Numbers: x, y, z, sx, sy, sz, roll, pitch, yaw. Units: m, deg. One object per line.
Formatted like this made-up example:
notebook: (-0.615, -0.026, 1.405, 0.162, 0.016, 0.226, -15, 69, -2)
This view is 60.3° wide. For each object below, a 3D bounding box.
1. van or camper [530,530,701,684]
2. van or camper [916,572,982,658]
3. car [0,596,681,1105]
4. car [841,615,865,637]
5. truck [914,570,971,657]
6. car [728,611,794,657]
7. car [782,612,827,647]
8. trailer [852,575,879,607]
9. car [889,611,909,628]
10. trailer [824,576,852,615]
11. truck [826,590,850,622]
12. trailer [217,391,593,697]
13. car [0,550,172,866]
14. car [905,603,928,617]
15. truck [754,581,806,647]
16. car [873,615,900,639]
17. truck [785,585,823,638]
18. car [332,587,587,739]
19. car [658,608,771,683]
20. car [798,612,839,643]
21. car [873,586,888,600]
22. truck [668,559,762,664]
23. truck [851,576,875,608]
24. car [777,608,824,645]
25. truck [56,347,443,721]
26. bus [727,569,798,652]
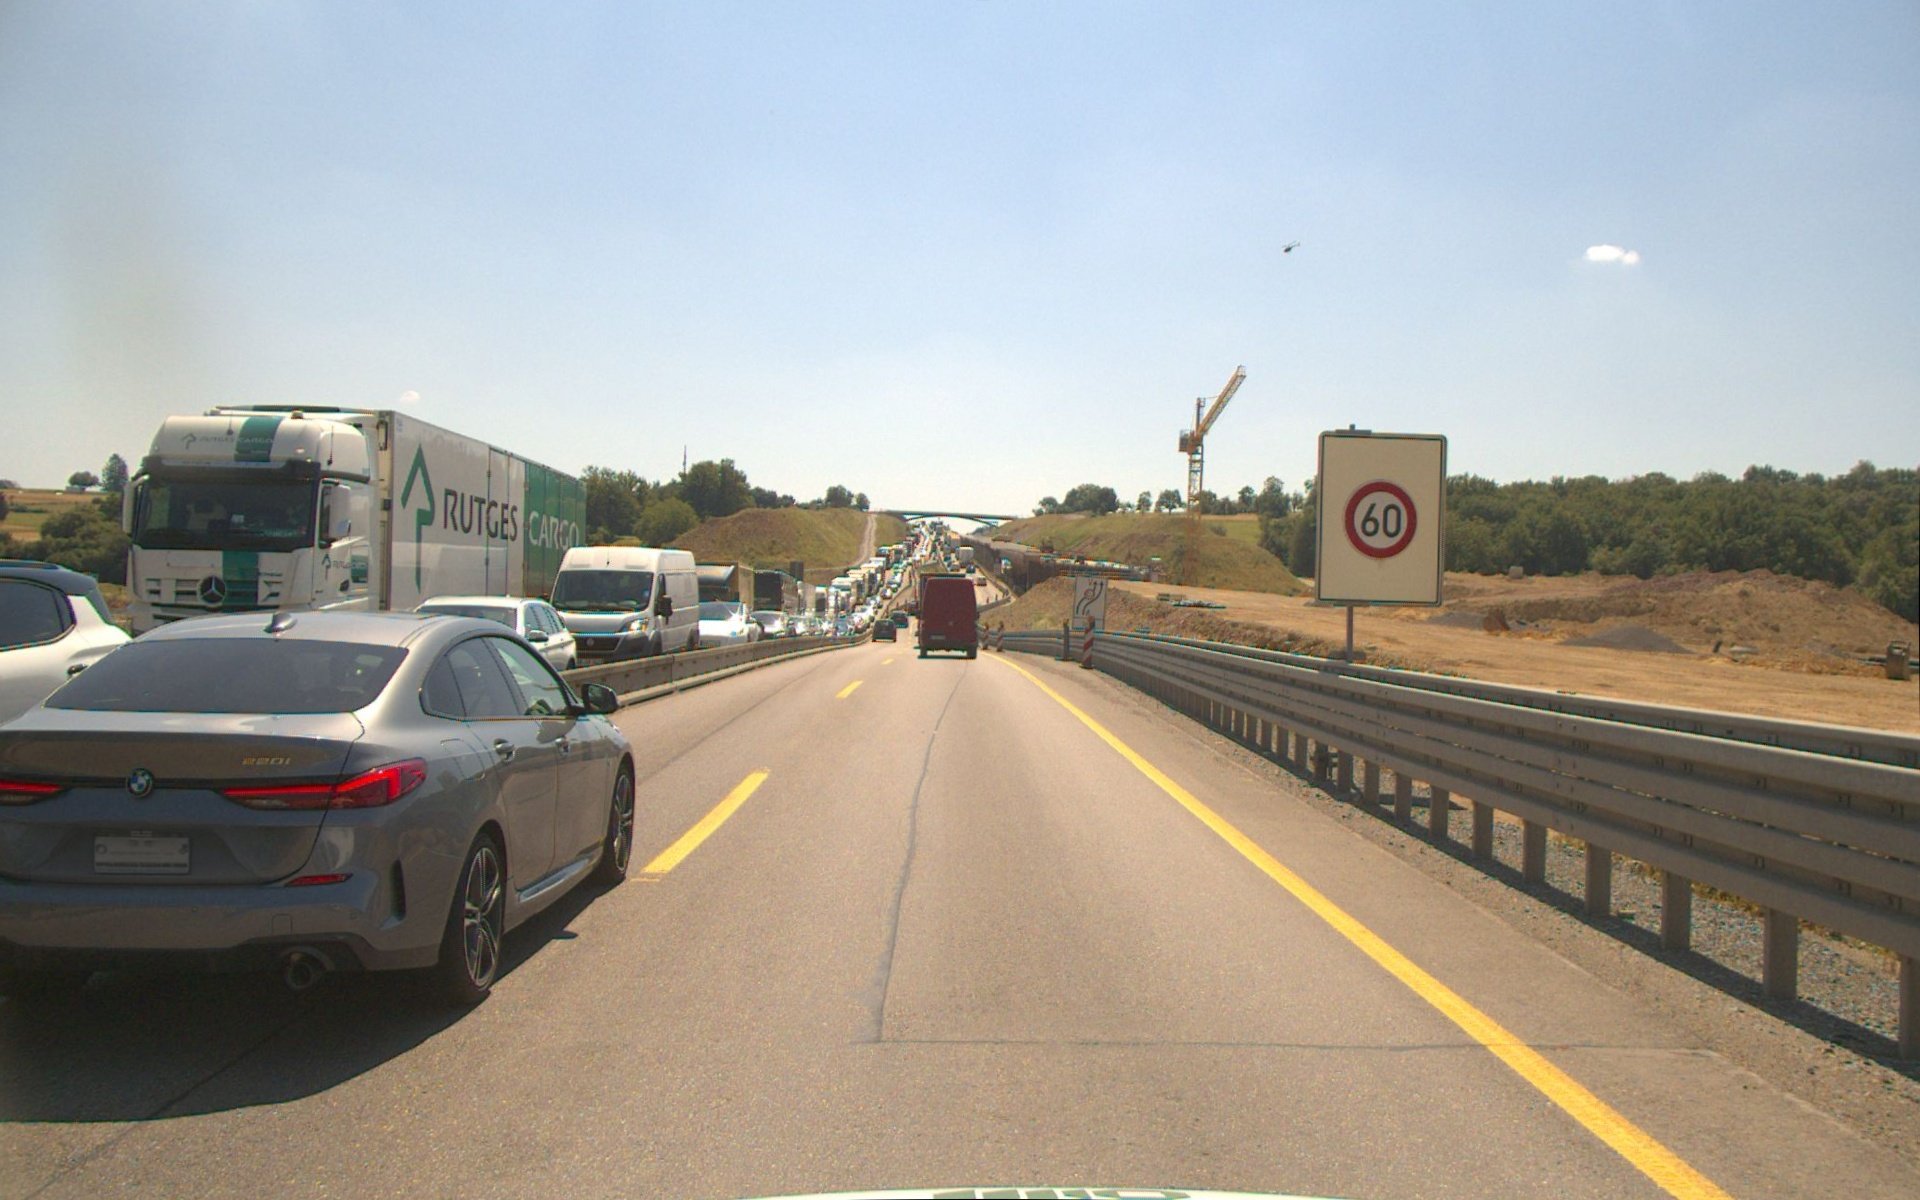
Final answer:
van or camper: (-6.357, 0.089, 31.346, 2.175, 2.555, 6.529, 2, 0, -3)
van or camper: (-0.415, 0.493, 56.809, 1.989, 2.792, 4.512, 1, 0, -3)
car: (-2.583, 0.753, 7.367, 1.813, 1.477, 4.742, 1, 1, 1)
car: (-9.196, 2.246, 142.324, 1.954, 1.659, 4.756, 2, 0, -3)
truck: (-1.054, 0.713, 94.391, 2.960, 4.775, 6.929, -1, 0, -2)
car: (-7.105, 1.189, 59.526, 1.844, 1.457, 5.123, 2, 0, -2)
car: (-7.411, 1.371, 79.098, 1.801, 1.469, 4.928, 2, 0, -2)
trailer: (-14.046, -1.362, 246.252, 2.980, 4.632, 12.129, 1, 0, 1)
car: (-6.188, 1.960, 167.917, 1.971, 1.572, 4.131, 2, 0, -2)
trailer: (-14.158, -0.505, 192.332, 2.542, 4.331, 12.464, 1, 0, -1)
truck: (-13.030, 0.608, 177.484, 2.385, 3.203, 7.020, 0, 1, -3)
trailer: (-9.672, -0.767, 31.060, 2.758, 4.508, 13.165, 0, -1, -1)
car: (-5.949, 0.547, 8.639, 1.721, 1.675, 4.154, 3, 0, -2)
car: (-5.225, 1.200, 200.008, 1.969, 1.572, 4.136, 2, 0, 10)
truck: (-12.231, 0.941, 112.919, 3.035, 4.271, 6.698, 1, 0, -3)
car: (-5.398, 1.966, 121.334, 1.972, 1.572, 4.130, 1, 0, -3)
truck: (-12.782, 0.950, 135.680, 2.919, 4.258, 5.868, 1, -1, -4)
car: (-5.900, 0.659, 20.150, 1.955, 1.524, 4.969, 3, 0, -5)
car: (-6.775, 1.208, 46.319, 2.324, 1.756, 5.780, 3, 0, -1)
car: (-7.563, 1.434, 88.781, 1.879, 1.448, 5.089, 3, 0, -2)
car: (-11.336, -0.973, 235.564, 1.954, 1.814, 3.998, 1, 1, -4)
truck: (-10.703, 0.439, 73.271, 2.746, 4.224, 10.076, 2, 0, -1)
truck: (-14.118, -1.251, 240.570, 2.989, 4.559, 5.981, 1, 1, 1)
car: (-7.038, 1.157, 73.245, 1.822, 1.520, 4.901, -1, -1, -3)
truck: (-9.549, -0.821, 23.080, 2.749, 4.469, 6.224, 1, 0, -1)
bus: (-11.328, 0.481, 96.240, 2.684, 4.338, 14.471, 2, 0, -2)
